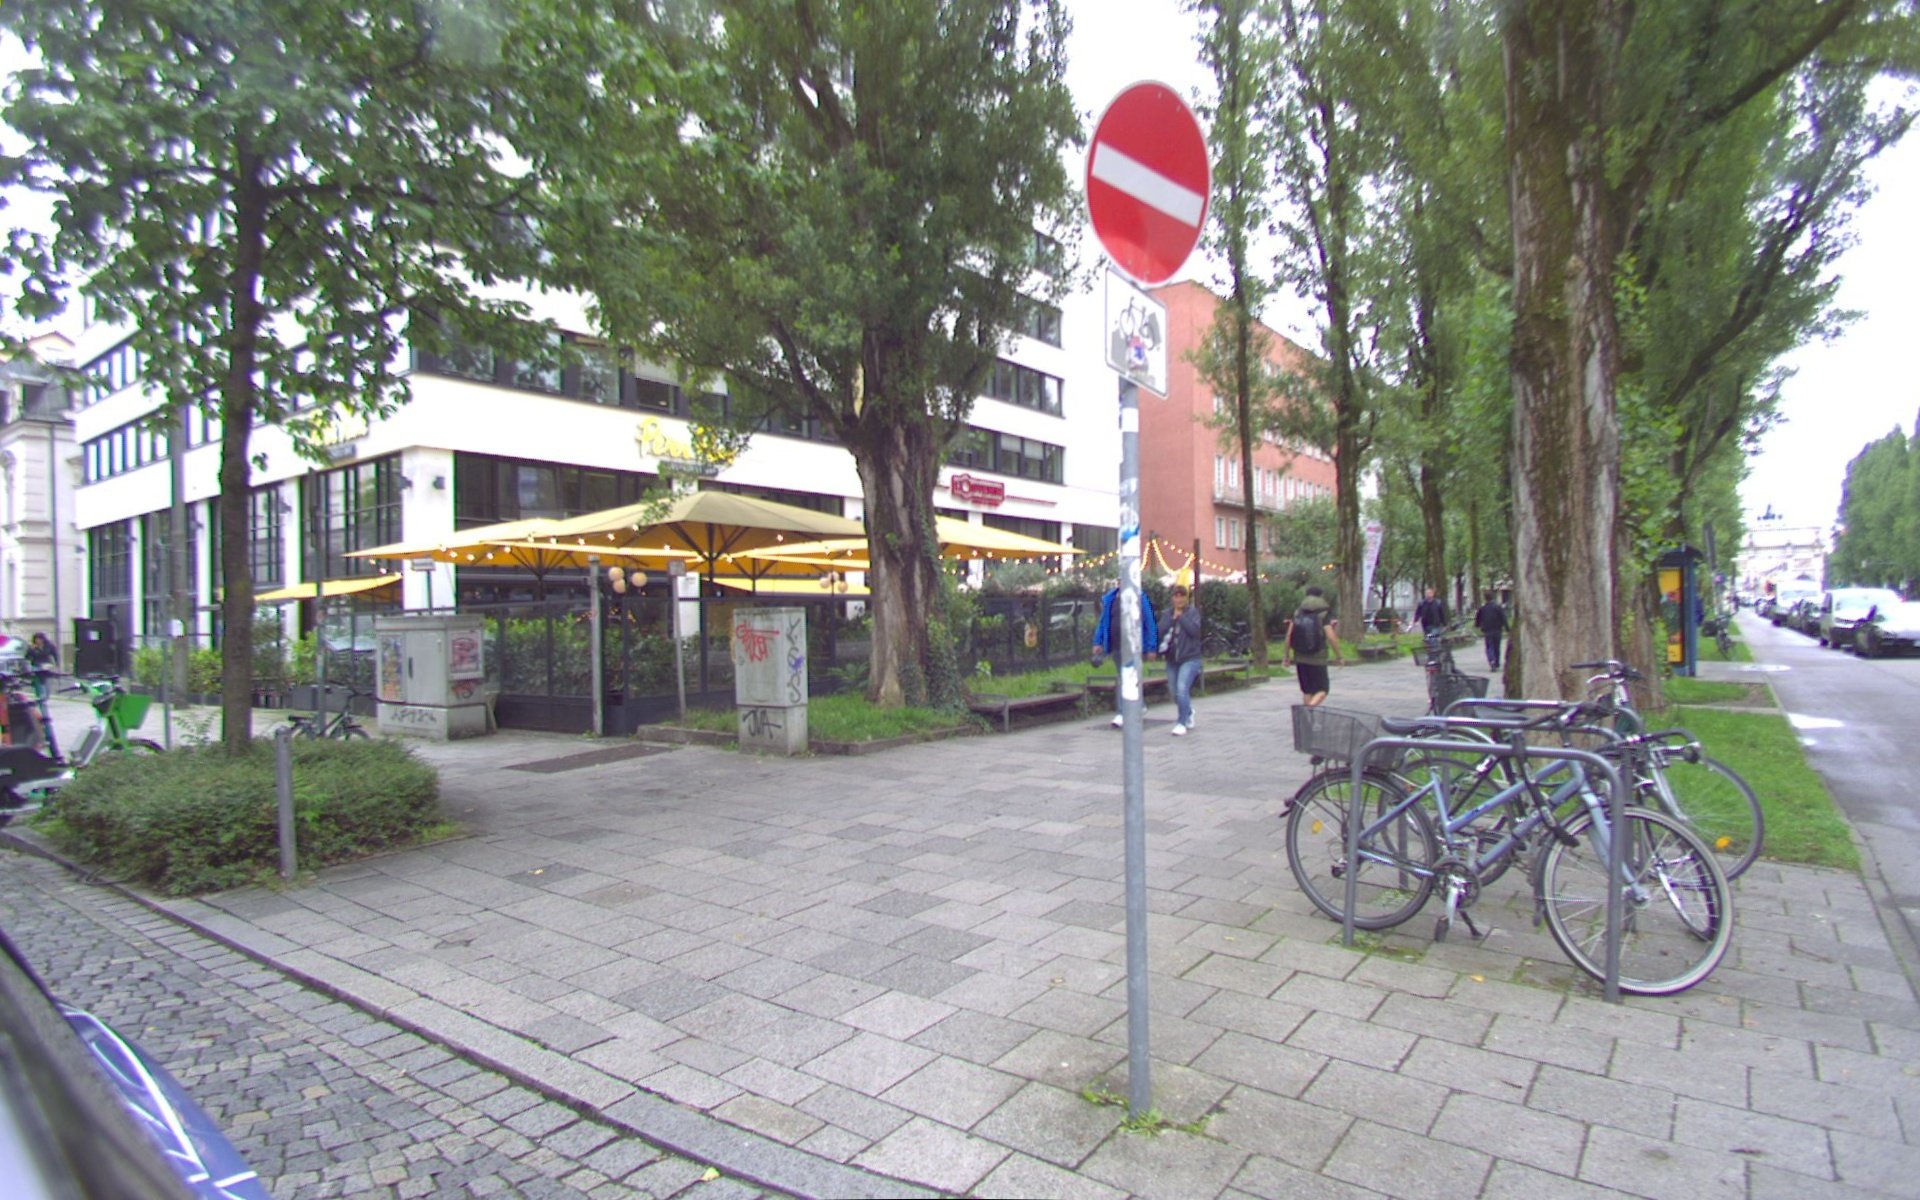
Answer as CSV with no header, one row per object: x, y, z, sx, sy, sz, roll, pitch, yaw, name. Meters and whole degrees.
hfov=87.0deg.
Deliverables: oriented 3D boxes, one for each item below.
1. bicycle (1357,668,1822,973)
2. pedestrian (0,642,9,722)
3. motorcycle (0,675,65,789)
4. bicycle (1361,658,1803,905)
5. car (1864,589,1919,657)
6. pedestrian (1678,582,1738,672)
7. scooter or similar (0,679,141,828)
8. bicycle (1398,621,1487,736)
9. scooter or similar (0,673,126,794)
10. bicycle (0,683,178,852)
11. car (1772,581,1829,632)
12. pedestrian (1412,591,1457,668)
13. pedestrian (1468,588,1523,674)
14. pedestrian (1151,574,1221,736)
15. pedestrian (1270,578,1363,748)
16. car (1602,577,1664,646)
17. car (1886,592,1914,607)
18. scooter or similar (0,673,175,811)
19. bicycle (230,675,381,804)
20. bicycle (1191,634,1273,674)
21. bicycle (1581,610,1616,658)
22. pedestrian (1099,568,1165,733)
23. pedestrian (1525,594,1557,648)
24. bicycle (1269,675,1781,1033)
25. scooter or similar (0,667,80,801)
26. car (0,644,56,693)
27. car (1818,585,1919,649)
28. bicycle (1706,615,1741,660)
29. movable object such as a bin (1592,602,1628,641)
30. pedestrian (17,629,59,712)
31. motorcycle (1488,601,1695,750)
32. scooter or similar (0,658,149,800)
2.760,0.883,4.587,1.703,1.101,0.485,-2,-2,43,bicycle
-21.158,1.779,21.789,0.799,1.719,0.917,-2,-2,39,pedestrian
-10.669,1.428,10.810,0.758,1.205,1.996,0,-3,-13,motorcycle
3.305,0.891,5.555,1.983,1.101,0.485,-2,-2,43,bicycle
23.976,0.529,25.105,2.010,1.592,3.949,-2,-1,38,car
15.867,0.565,21.494,0.887,1.857,0.760,-2,-1,30,pedestrian
-7.975,1.308,8.792,0.366,1.153,1.424,-1,-1,13,scooter or similar
5.523,0.854,11.536,0.582,1.198,1.596,-2,-1,37,bicycle
-9.397,1.374,10.495,1.235,1.189,0.389,-2,-1,5,scooter or similar
-7.357,1.315,8.207,0.547,1.152,1.759,-2,-1,6,bicycle
46.362,0.371,55.912,2.009,2.652,5.925,-2,-1,37,car
10.825,0.669,23.081,0.735,1.705,0.638,-2,-2,41,pedestrian
11.101,0.636,20.980,0.856,1.724,0.947,-2,-2,35,pedestrian
2.521,0.609,11.281,0.696,1.741,0.642,-2,-1,14,pedestrian
3.930,0.662,11.153,0.752,1.786,0.696,-1,-1,42,pedestrian
31.951,0.544,47.962,2.195,3.040,5.929,-2,-1,35,car
112.808,-0.101,121.480,1.997,1.735,4.293,-1,0,38,car
-8.263,1.309,9.604,0.327,1.153,1.235,-2,-1,37,scooter or similar
-5.981,1.222,9.212,1.759,1.030,0.547,-2,-1,36,bicycle
6.559,1.295,24.433,1.798,0.919,0.613,-2,-1,35,bicycle
16.674,0.869,26.408,0.582,1.198,2.115,-2,-1,37,bicycle
2.074,0.601,12.188,0.696,1.922,0.642,-2,-1,14,pedestrian
18.521,0.675,32.252,0.735,1.705,0.638,-2,-2,41,pedestrian
2.167,0.885,4.067,1.703,1.101,0.485,-2,-2,43,bicycle
-9.752,1.364,10.589,0.322,1.283,1.362,-1,-3,-19,scooter or similar
-32.637,2.306,34.562,4.162,1.544,1.890,-2,-2,37,car
27.617,0.558,30.697,2.008,1.771,3.952,-3,-3,35,car
18.718,0.904,24.823,0.552,1.030,1.742,-2,-1,34,bicycle
24.079,0.800,37.503,1.061,1.415,0.972,-2,-2,34,movable object such as a bin
-20.287,1.536,22.263,0.650,1.761,0.568,-2,-1,38,pedestrian
6.238,0.688,10.160,0.620,1.204,1.995,-1,4,-7,motorcycle
-8.878,1.256,10.196,0.323,1.282,1.249,-1,-1,6,scooter or similar
